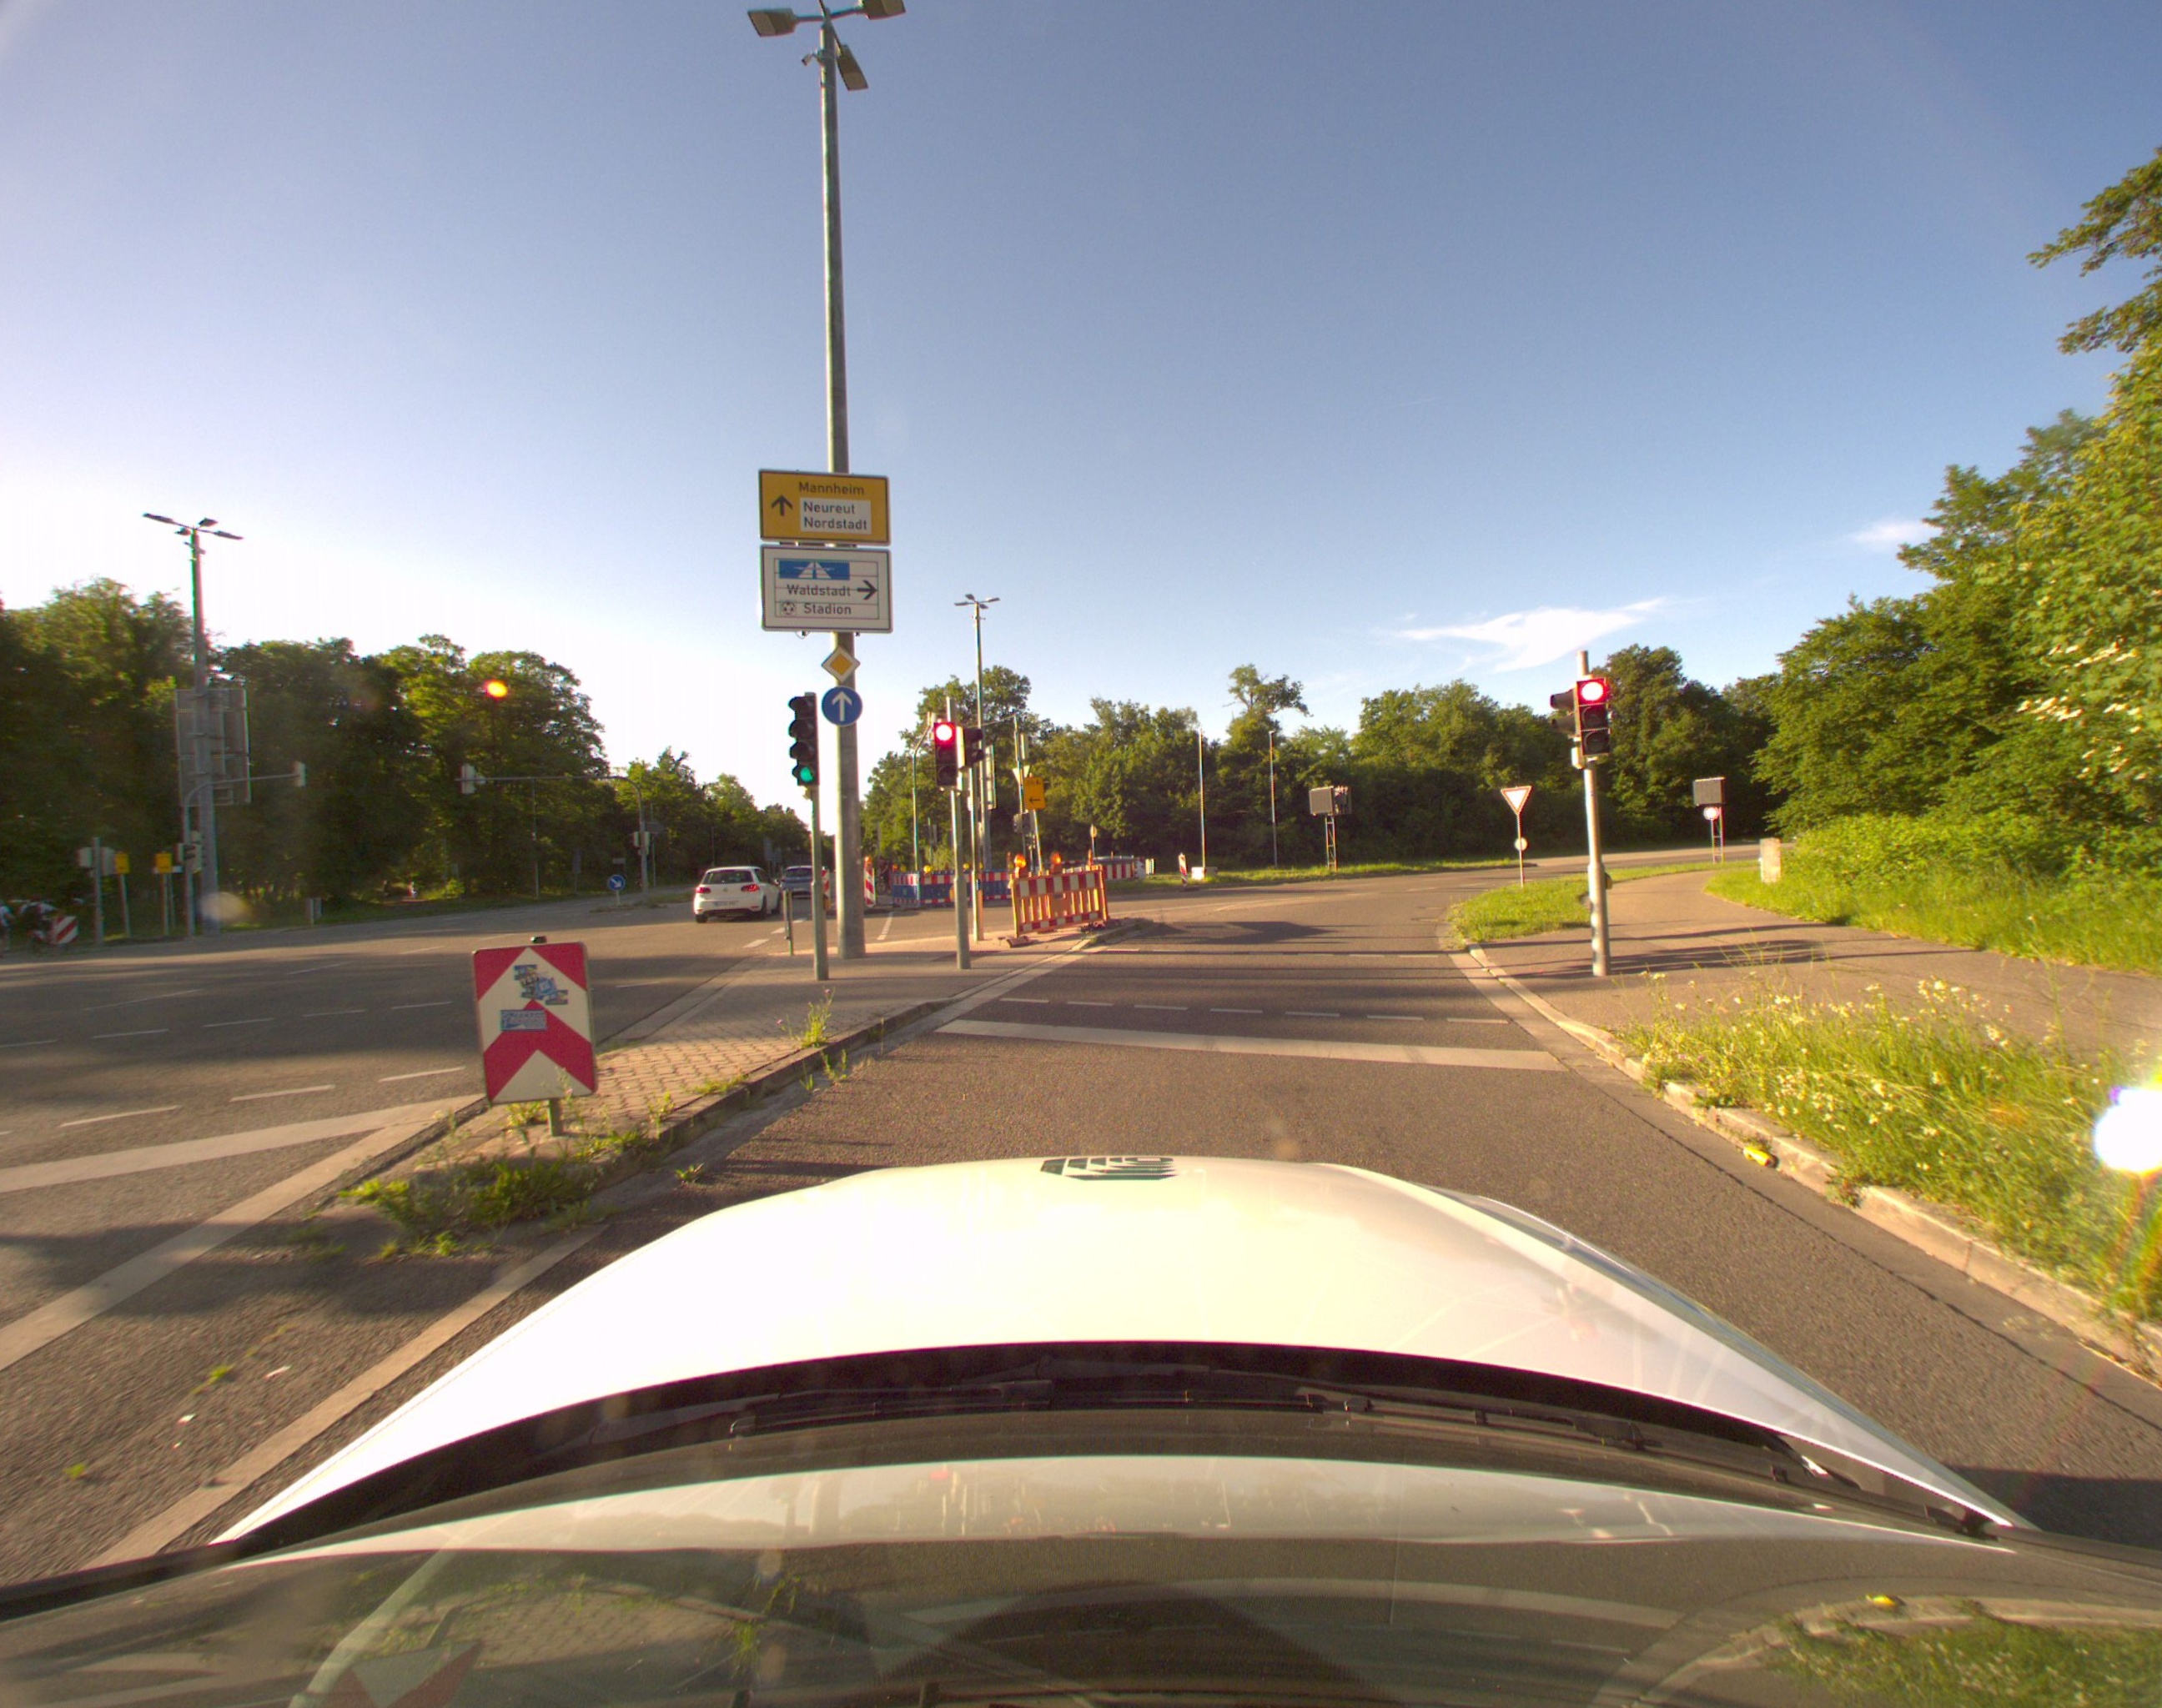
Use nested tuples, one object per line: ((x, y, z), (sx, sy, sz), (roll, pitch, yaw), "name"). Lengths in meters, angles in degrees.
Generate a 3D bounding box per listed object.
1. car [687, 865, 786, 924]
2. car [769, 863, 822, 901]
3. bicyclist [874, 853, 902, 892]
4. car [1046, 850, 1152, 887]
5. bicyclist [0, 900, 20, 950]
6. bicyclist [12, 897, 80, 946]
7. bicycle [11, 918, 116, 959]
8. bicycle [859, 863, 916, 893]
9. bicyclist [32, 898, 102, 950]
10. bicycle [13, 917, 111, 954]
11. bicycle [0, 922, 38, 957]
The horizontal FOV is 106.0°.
((-9.633, 1.076, 23.073), (1.943, 1.414, 3.980), (-2, 0, -14), "car")
((-13.070, 1.254, 37.529), (1.998, 1.536, 3.978), (-2, 0, -16), "car")
((-9.683, 0.914, 40.829), (1.022, 1.930, 0.956), (-1, -1, -44), "bicyclist")
((0.924, 0.693, 39.634), (4.852, 1.580, 1.979), (-2, 0, -34), "car")
((-30.301, 1.986, 22.475), (0.714, 1.355, 0.987), (-2, 0, -9), "bicyclist")
((-30.585, 1.992, 24.082), (0.714, 1.342, 0.987), (-2, 0, -9), "bicyclist")
((-28.434, 2.337, 22.808), (0.714, 0.914, 1.905), (-2, 0, -9), "bicycle")
((-9.680, 1.194, 40.842), (2.655, 1.383, 0.956), (-1, -1, -44), "bicycle")
((-28.456, 1.944, 22.869), (0.714, 1.339, 0.987), (-2, 0, -9), "bicyclist")
((-30.634, 2.436, 24.531), (0.714, 0.914, 1.905), (-2, 0, -9), "bicycle")
((-30.285, 2.420, 22.475), (0.714, 0.914, 1.905), (-2, 0, -9), "bicycle")
